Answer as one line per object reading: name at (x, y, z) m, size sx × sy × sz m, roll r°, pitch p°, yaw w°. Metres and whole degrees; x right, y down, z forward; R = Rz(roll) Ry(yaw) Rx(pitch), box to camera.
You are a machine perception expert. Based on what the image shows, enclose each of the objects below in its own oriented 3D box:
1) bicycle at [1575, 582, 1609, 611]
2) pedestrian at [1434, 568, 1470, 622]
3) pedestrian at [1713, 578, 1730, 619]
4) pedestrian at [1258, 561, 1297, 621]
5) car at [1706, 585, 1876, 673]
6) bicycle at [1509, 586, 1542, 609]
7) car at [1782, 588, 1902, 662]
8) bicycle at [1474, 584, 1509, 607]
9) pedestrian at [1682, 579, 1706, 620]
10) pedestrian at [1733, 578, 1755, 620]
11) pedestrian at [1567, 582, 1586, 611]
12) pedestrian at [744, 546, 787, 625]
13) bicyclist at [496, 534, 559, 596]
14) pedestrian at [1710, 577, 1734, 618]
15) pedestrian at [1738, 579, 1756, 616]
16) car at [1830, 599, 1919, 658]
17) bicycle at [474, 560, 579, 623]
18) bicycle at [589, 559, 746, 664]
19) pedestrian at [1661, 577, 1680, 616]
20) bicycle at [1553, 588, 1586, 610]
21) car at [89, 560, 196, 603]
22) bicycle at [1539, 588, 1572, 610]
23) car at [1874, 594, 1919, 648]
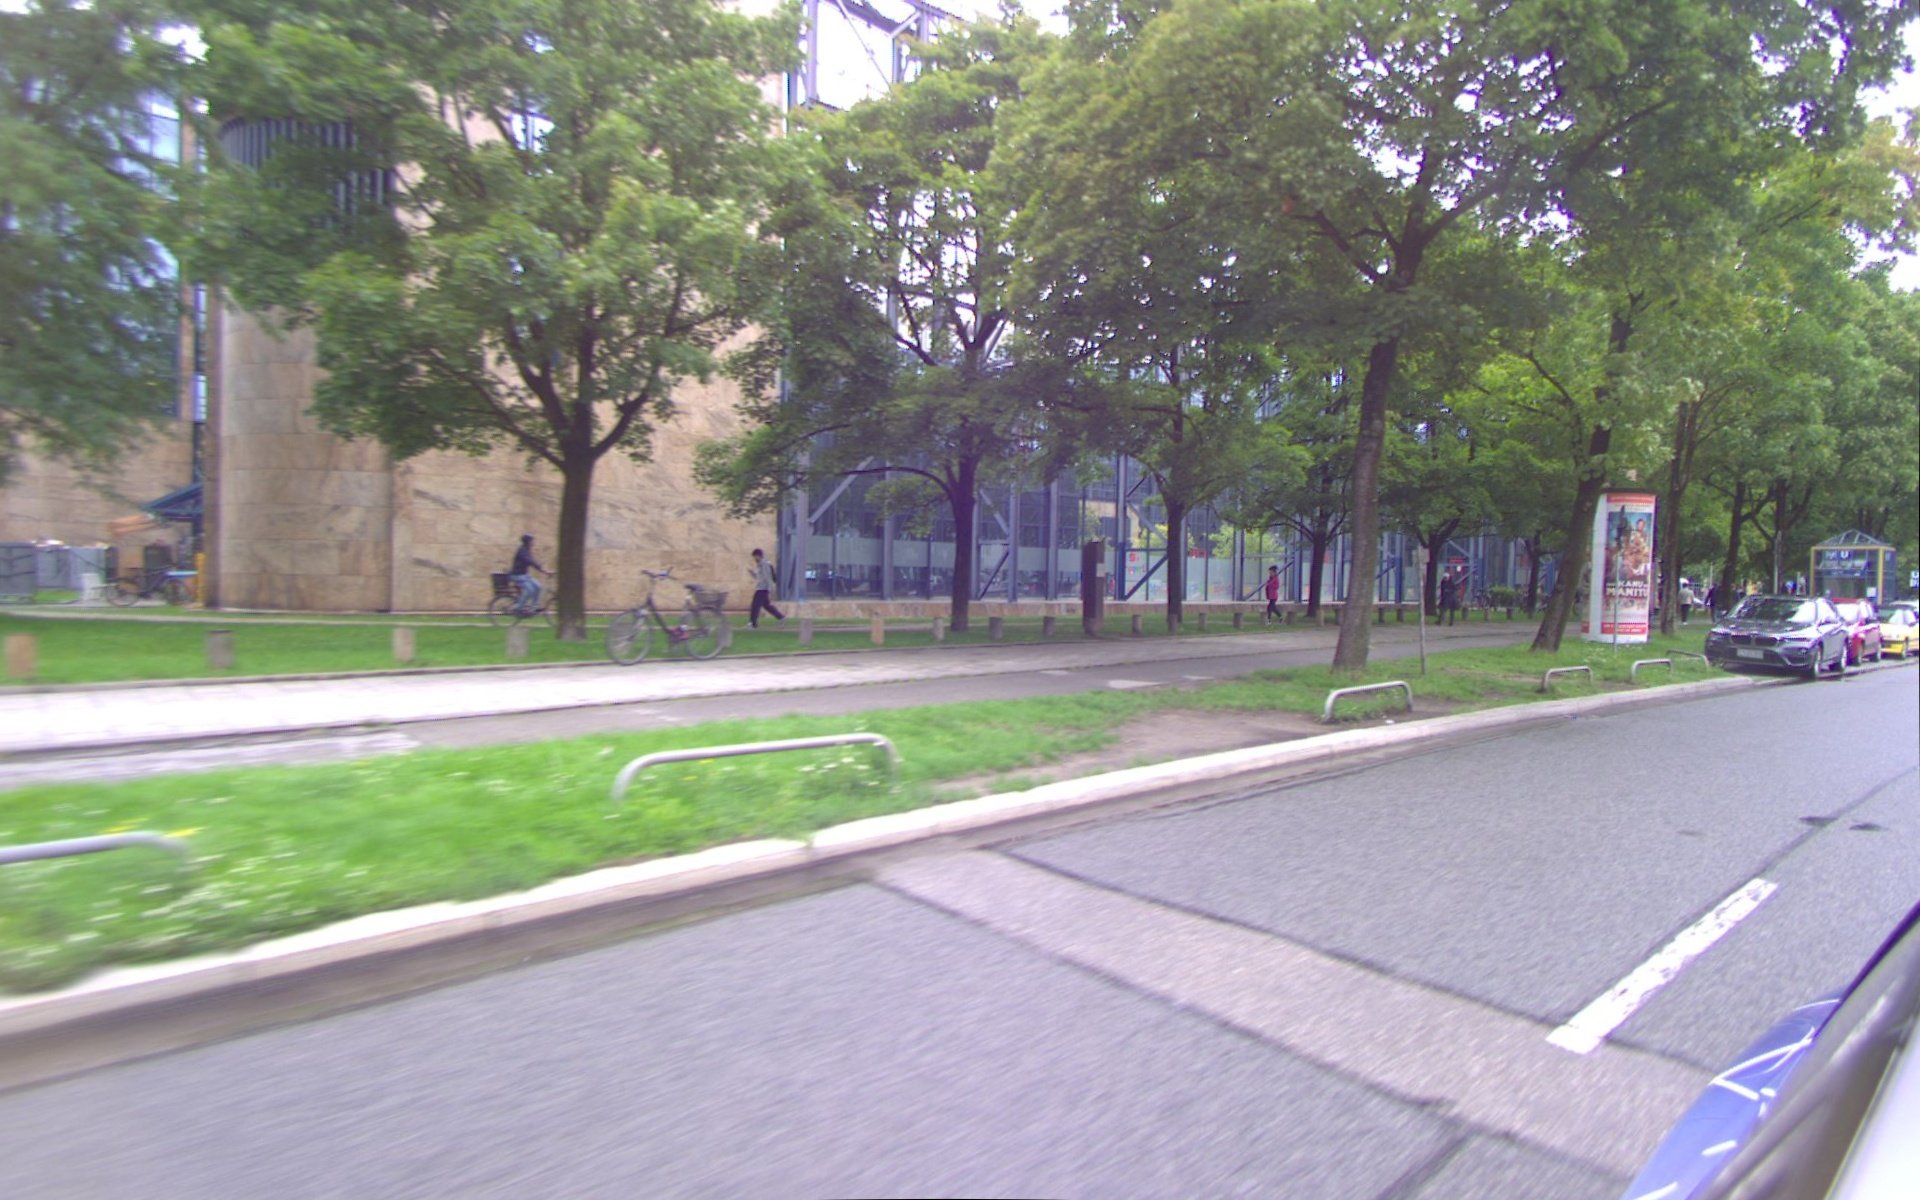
bicycle at (26.918, -0.168, 43.075) m, size 2.103 × 1.207 × 0.512 m, roll -1°, pitch 2°, yaw -38°
pedestrian at (15.658, -0.180, 32.213) m, size 0.632 × 1.665 × 0.740 m, roll 0°, pitch 3°, yaw -31°
pedestrian at (31.974, -0.056, 42.484) m, size 0.343 × 1.711 × 0.434 m, roll 1°, pitch 1°, yaw -30°
pedestrian at (9.224, -0.277, 29.421) m, size 0.847 × 1.665 × 0.739 m, roll 2°, pitch 3°, yaw 3°
car at (17.449, 0.536, 21.183) m, size 4.520 × 1.610 × 1.865 m, roll 0°, pitch 2°, yaw -39°
bicycle at (24.634, -0.120, 44.081) m, size 1.730 × 0.952 × 0.619 m, roll 0°, pitch 2°, yaw -38°
car at (21.142, 0.546, 24.231) m, size 3.559 × 1.593 × 1.555 m, roll 0°, pitch 2°, yaw -39°
bicycle at (23.376, -0.203, 44.533) m, size 2.027 × 0.952 × 0.572 m, roll -1°, pitch 2°, yaw -38°
pedestrian at (30.549, -0.040, 42.121) m, size 0.426 × 1.661 × 0.613 m, roll 0°, pitch 3°, yaw -32°
pedestrian at (33.439, -0.061, 43.166) m, size 0.649 × 1.743 × 0.528 m, roll -1°, pitch 4°, yaw -41°
pedestrian at (26.184, -0.148, 42.964) m, size 0.418 × 1.193 × 0.507 m, roll 0°, pitch 3°, yaw -37°
pedestrian at (-4.212, -0.310, 21.934) m, size 0.861 × 1.666 × 0.573 m, roll 1°, pitch 1°, yaw -9°
bicyclist at (-8.347, -0.672, 19.555) m, size 0.940 × 1.143 × 0.728 m, roll 1°, pitch 1°, yaw -6°
pedestrian at (32.957, -0.112, 43.769) m, size 0.601 × 1.710 × 0.612 m, roll -1°, pitch 4°, yaw -41°
pedestrian at (38.470, -0.128, 49.471) m, size 0.549 × 1.743 × 0.528 m, roll -1°, pitch 4°, yaw -41°
car at (24.838, 0.700, 27.037) m, size 4.118 × 1.398 × 1.627 m, roll 0°, pitch 2°, yaw -38°
bicycle at (-8.357, -0.170, 19.566) m, size 1.731 × 1.143 × 0.728 m, roll 1°, pitch 1°, yaw -6°
bicycle at (-3.789, 0.128, 13.235) m, size 1.888 × 1.266 × 0.621 m, roll 0°, pitch 2°, yaw -43°
pedestrian at (30.004, -0.153, 42.750) m, size 0.419 × 1.647 × 0.506 m, roll -1°, pitch 4°, yaw -41°
bicycle at (26.298, -0.043, 43.654) m, size 2.102 × 0.952 × 0.512 m, roll 0°, pitch 1°, yaw -38°
car at (-20.344, -0.483, 25.203) m, size 2.042 × 1.026 × 0.677 m, roll -2°, pitch 3°, yaw -42°
bicycle at (25.918, -0.042, 44.034) m, size 2.102 × 0.952 × 0.512 m, roll 0°, pitch 1°, yaw -38°
car at (28.612, 0.621, 29.875) m, size 3.822 × 1.493 × 1.628 m, roll 0°, pitch 2°, yaw -36°
